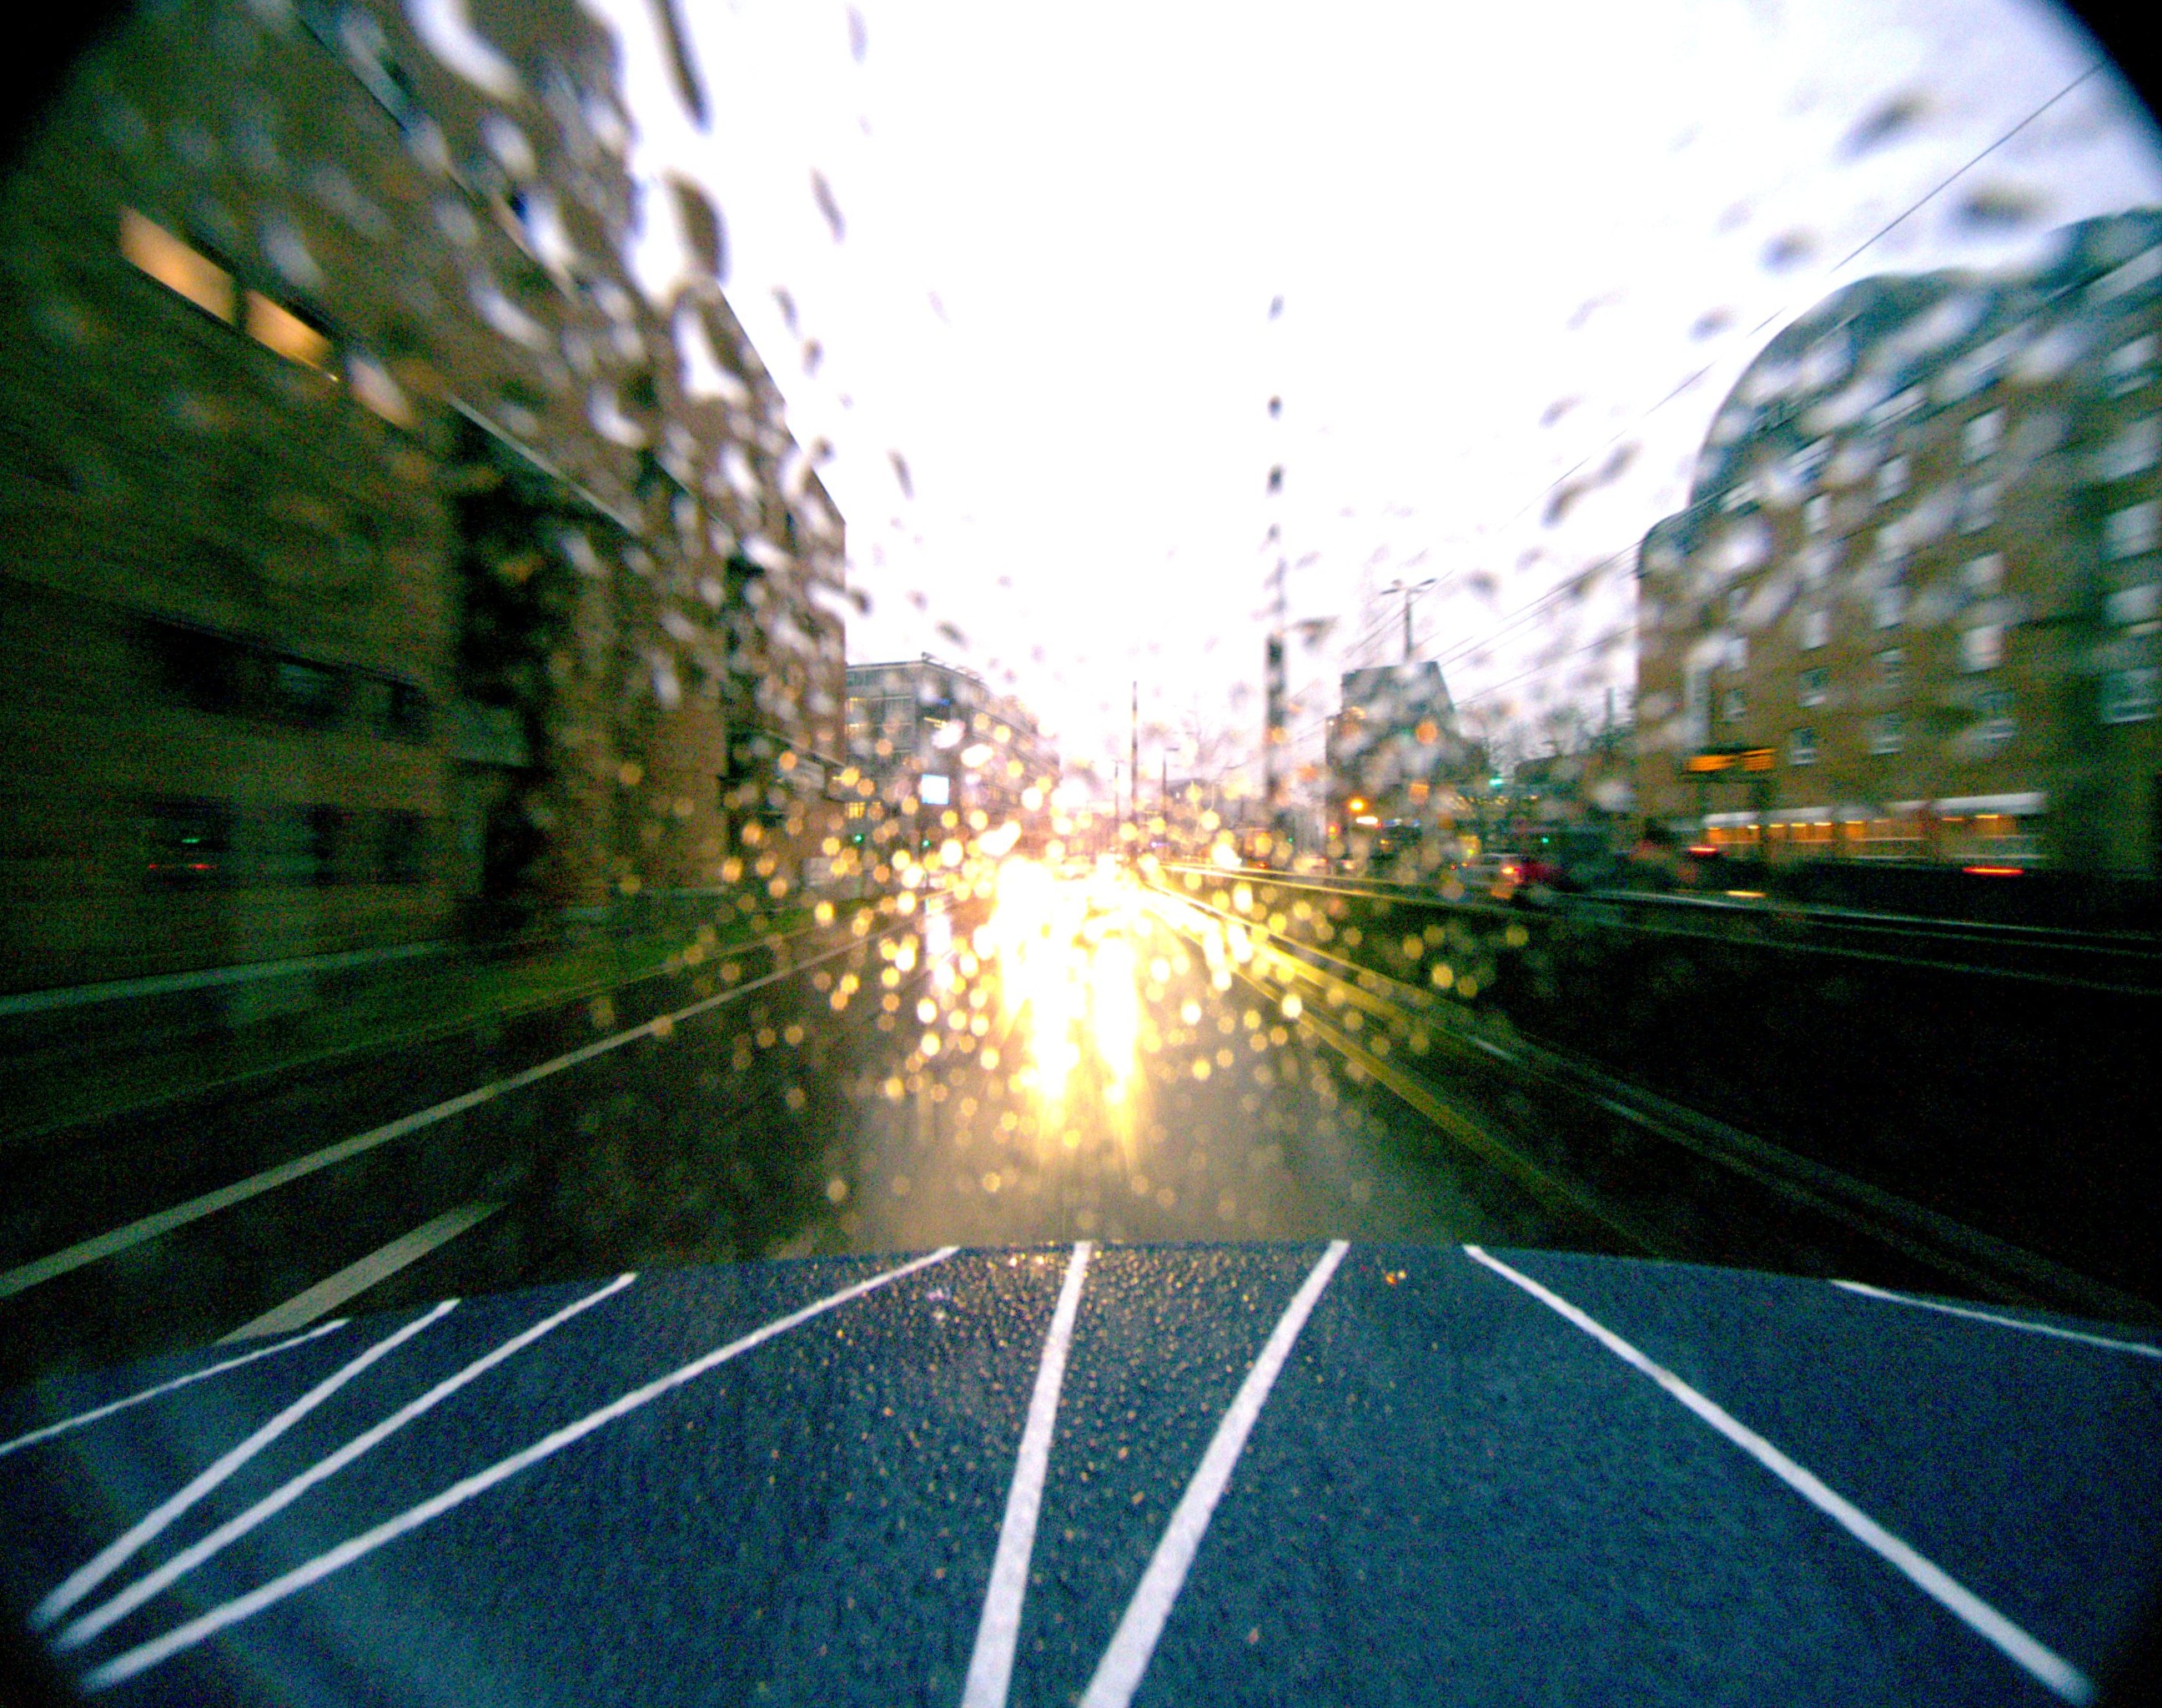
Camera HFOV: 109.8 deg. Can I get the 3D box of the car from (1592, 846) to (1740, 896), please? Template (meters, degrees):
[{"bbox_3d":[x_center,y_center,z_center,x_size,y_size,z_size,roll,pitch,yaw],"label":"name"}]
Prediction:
[{"bbox_3d":[17.362,0.456,22.769,1.686,1.346,3.545,-1,1,0],"label":"car"}]

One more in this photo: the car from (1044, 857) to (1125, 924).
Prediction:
[{"bbox_3d":[0.086,0.820,19.094,1.774,1.449,4.221,-2,0,0],"label":"car"}]

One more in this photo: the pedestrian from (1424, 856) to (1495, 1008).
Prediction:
[{"bbox_3d":[4.096,0.817,8.245,0.482,1.581,0.563,-1,1,-2],"label":"pedestrian"}]

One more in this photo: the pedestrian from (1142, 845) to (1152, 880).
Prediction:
[{"bbox_3d":[3.424,0.434,39.465,0.413,1.835,0.669,-1,1,-4],"label":"pedestrian"}]

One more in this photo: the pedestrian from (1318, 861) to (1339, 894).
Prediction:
[{"bbox_3d":[8.830,0.838,27.132,0.581,1.146,0.490,-2,1,2],"label":"pedestrian"}]

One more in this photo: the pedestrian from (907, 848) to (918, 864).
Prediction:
[{"bbox_3d":[-18.757,0.182,84.717,1.152,1.777,0.777,0,1,-9],"label":"pedestrian"}]

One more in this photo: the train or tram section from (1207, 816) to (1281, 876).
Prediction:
[{"bbox_3d":[10.919,-0.518,52.158,2.932,3.557,11.035,-2,0,1],"label":"train or tram section"}]

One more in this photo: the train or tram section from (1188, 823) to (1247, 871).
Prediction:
[{"bbox_3d":[11.231,-0.590,63.850,2.957,3.568,12.255,-2,0,1],"label":"train or tram section"}]

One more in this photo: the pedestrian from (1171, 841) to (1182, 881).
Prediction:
[{"bbox_3d":[4.724,0.349,37.493,0.434,1.956,0.473,-1,1,-4],"label":"pedestrian"}]

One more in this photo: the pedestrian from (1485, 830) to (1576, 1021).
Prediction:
[{"bbox_3d":[4.093,0.626,6.948,0.482,1.669,0.563,-1,1,-2],"label":"pedestrian"}]

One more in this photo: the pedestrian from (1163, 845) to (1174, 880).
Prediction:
[{"bbox_3d":[4.369,0.437,37.884,0.434,1.725,0.473,-1,1,-4],"label":"pedestrian"}]

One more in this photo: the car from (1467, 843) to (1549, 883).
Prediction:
[{"bbox_3d":[17.433,0.335,31.192,1.521,1.508,3.325,-1,1,0],"label":"car"}]

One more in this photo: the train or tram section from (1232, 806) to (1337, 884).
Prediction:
[{"bbox_3d":[10.614,-0.447,41.125,2.906,3.547,11.035,-2,0,1],"label":"train or tram section"}]

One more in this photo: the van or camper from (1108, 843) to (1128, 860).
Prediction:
[{"bbox_3d":[5.768,-0.392,117.566,2.059,2.533,5.891,-1,0,14],"label":"van or camper"}]

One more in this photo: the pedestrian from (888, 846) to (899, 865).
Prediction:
[{"bbox_3d":[-17.432,0.125,70.765,0.802,1.800,0.649,0,1,-32],"label":"pedestrian"}]

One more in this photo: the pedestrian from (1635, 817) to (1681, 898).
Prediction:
[{"bbox_3d":[13.882,0.076,18.268,0.792,1.876,0.885,0,1,42],"label":"pedestrian"}]

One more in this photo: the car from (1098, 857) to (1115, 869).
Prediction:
[{"bbox_3d":[3.641,1.266,107.034,1.683,1.563,3.764,0,0,12],"label":"car"}]

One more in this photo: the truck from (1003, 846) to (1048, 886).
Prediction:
[{"bbox_3d":[-2.837,0.590,39.886,1.909,1.906,4.617,-2,0,0],"label":"truck"}]

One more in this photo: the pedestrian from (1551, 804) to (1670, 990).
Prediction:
[{"bbox_3d":[4.699,0.362,6.775,0.620,1.581,0.622,-1,1,-2],"label":"pedestrian"}]

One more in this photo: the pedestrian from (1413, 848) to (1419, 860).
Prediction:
[{"bbox_3d":[46.869,-0.031,106.409,0.726,1.699,0.695,1,1,20],"label":"pedestrian"}]
